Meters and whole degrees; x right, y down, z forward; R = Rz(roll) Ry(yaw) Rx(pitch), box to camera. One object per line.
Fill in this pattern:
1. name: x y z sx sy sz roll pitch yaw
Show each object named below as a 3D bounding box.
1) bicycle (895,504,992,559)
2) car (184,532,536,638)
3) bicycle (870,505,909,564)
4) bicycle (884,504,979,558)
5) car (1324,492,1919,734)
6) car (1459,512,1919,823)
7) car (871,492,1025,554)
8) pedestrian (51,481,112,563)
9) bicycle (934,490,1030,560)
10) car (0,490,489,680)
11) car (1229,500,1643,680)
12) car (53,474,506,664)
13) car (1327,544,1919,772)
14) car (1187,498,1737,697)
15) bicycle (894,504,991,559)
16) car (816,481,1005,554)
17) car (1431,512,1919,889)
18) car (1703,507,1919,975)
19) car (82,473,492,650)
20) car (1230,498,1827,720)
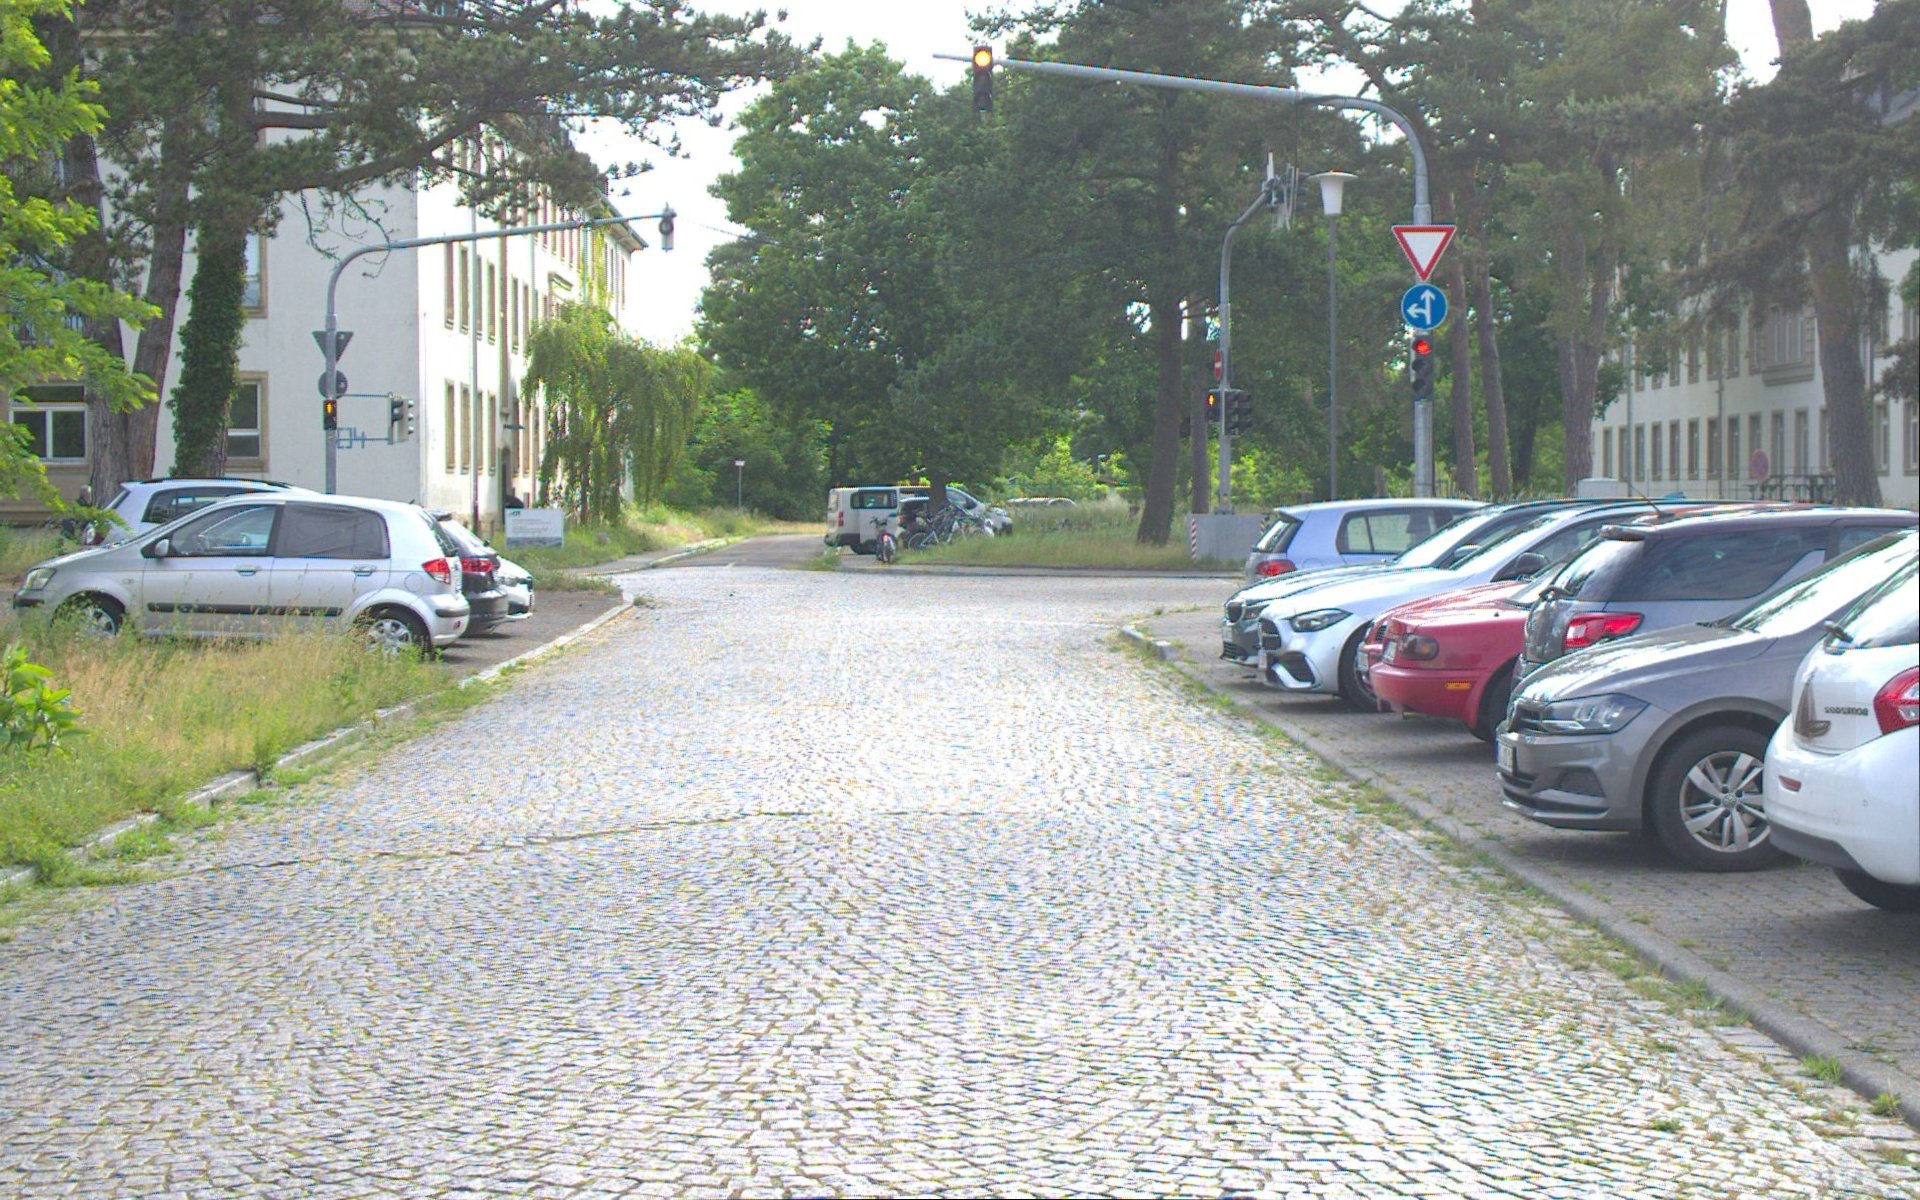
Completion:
1. bicycle: -0.383 -1.585 79.356 2.160 1.264 0.813 0 2 -7
2. car: -6.445 -0.179 37.225 3.670 1.090 1.647 0 2 -7
3. bicycle: -1.544 -1.443 75.577 0.810 1.264 1.973 0 2 0
4. bicycle: -0.670 -1.623 81.152 2.160 1.264 0.813 0 2 -7
5. car: 4.566 0.062 22.856 3.986 1.538 1.664 0 2 -7
6. car: 4.449 0.300 17.894 3.291 1.499 1.665 0 2 -12
7. car: -0.355 -2.114 93.899 3.986 1.638 2.001 0 2 -7
8. pedestrian: -16.272 -1.444 63.669 0.898 1.493 0.904 0 2 0
9. bicycle: 0.512 -1.763 80.666 2.160 1.610 0.813 0 2 -7
10. car: -6.061 -0.162 29.469 3.986 1.546 2.001 0 2 -7
11. car: 4.188 -0.111 30.468 3.388 1.538 1.391 0 2 -7
12. car: -6.241 -0.319 31.954 3.986 1.700 2.001 0 2 -7
13. car: 3.999 0.312 20.603 3.291 1.263 1.664 0 2 -7
14. car: 4.025 -0.051 27.894 4.122 1.538 1.664 0 2 -7
15. bicycle: -0.402 -1.596 79.943 2.160 1.264 0.813 0 2 -7
16. car: -1.403 -2.328 97.154 5.049 2.006 2.001 0 2 -11
17. car: 4.049 0.374 15.008 3.597 1.501 1.665 0 2 -12
18. car: 4.454 0.432 12.021 3.292 1.499 1.664 0 2 -3
19. car: -6.781 -0.404 34.990 3.986 1.744 1.928 0 2 -8
20. car: 4.093 0.034 25.081 3.986 1.538 1.664 0 2 -7
